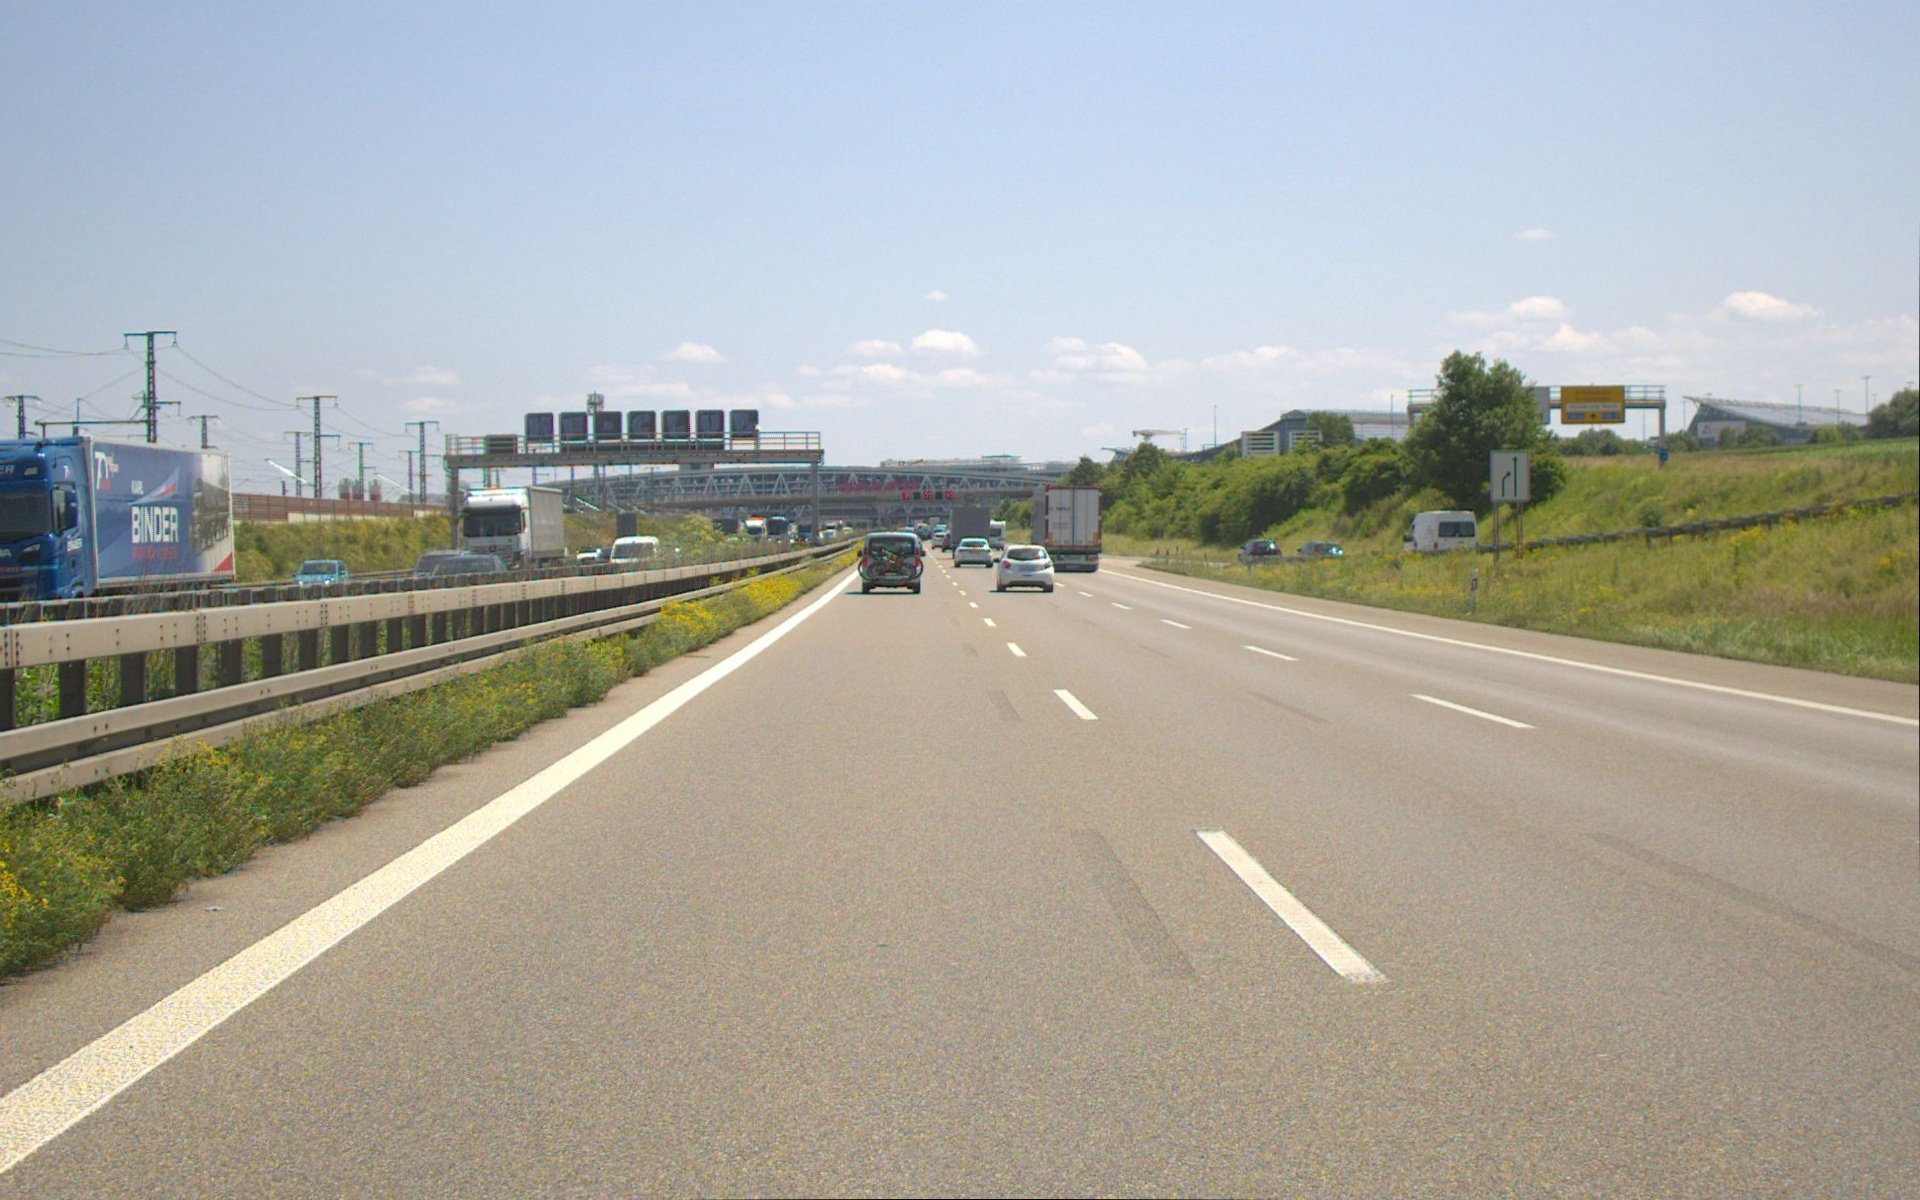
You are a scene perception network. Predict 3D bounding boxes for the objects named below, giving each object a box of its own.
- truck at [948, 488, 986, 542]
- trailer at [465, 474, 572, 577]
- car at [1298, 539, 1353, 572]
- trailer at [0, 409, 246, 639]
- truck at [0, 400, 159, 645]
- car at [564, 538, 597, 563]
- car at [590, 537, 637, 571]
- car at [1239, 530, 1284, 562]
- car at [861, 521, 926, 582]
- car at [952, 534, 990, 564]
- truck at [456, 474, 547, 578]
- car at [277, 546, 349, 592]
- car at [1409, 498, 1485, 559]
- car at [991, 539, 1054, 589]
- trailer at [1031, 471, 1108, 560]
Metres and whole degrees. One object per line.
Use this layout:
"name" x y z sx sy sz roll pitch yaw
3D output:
"truck" 0.424 -5.373 217.176 2.355 3.404 6.058 0 1 -1
"trailer" -18.526 -3.137 145.061 2.730 4.060 13.530 -1 1 0
"car" 17.744 -2.153 167.113 1.993 1.503 4.000 1 0 -3
"trailer" -17.740 -1.592 72.454 2.888 4.392 12.092 -1 1 -1
"truck" -17.672 -1.455 65.799 2.888 4.392 7.503 -1 1 -1
"car" -24.083 -3.178 218.387 1.720 1.539 3.809 0 1 0
"car" -15.103 -2.020 149.843 1.644 1.456 3.836 0 1 0
"car" 16.377 -2.923 186.895 1.993 1.590 4.000 1 0 -1
"car" -1.979 -1.458 103.080 1.880 1.769 4.000 -1 1 -1
"car" 0.575 -2.584 174.327 1.881 1.521 4.000 1 1 0
"truck" -18.513 -3.011 139.134 2.730 4.058 6.381 -1 1 0
"car" -22.172 -1.080 117.969 1.754 1.514 3.836 0 1 0
"car" 20.646 -3.032 145.911 2.274 2.519 5.400 0 1 -2
"car" 1.978 -1.134 107.991 1.881 1.521 4.000 1 1 2
"trailer" 5.106 -3.978 161.837 3.177 4.045 9.440 -1 1 -1
